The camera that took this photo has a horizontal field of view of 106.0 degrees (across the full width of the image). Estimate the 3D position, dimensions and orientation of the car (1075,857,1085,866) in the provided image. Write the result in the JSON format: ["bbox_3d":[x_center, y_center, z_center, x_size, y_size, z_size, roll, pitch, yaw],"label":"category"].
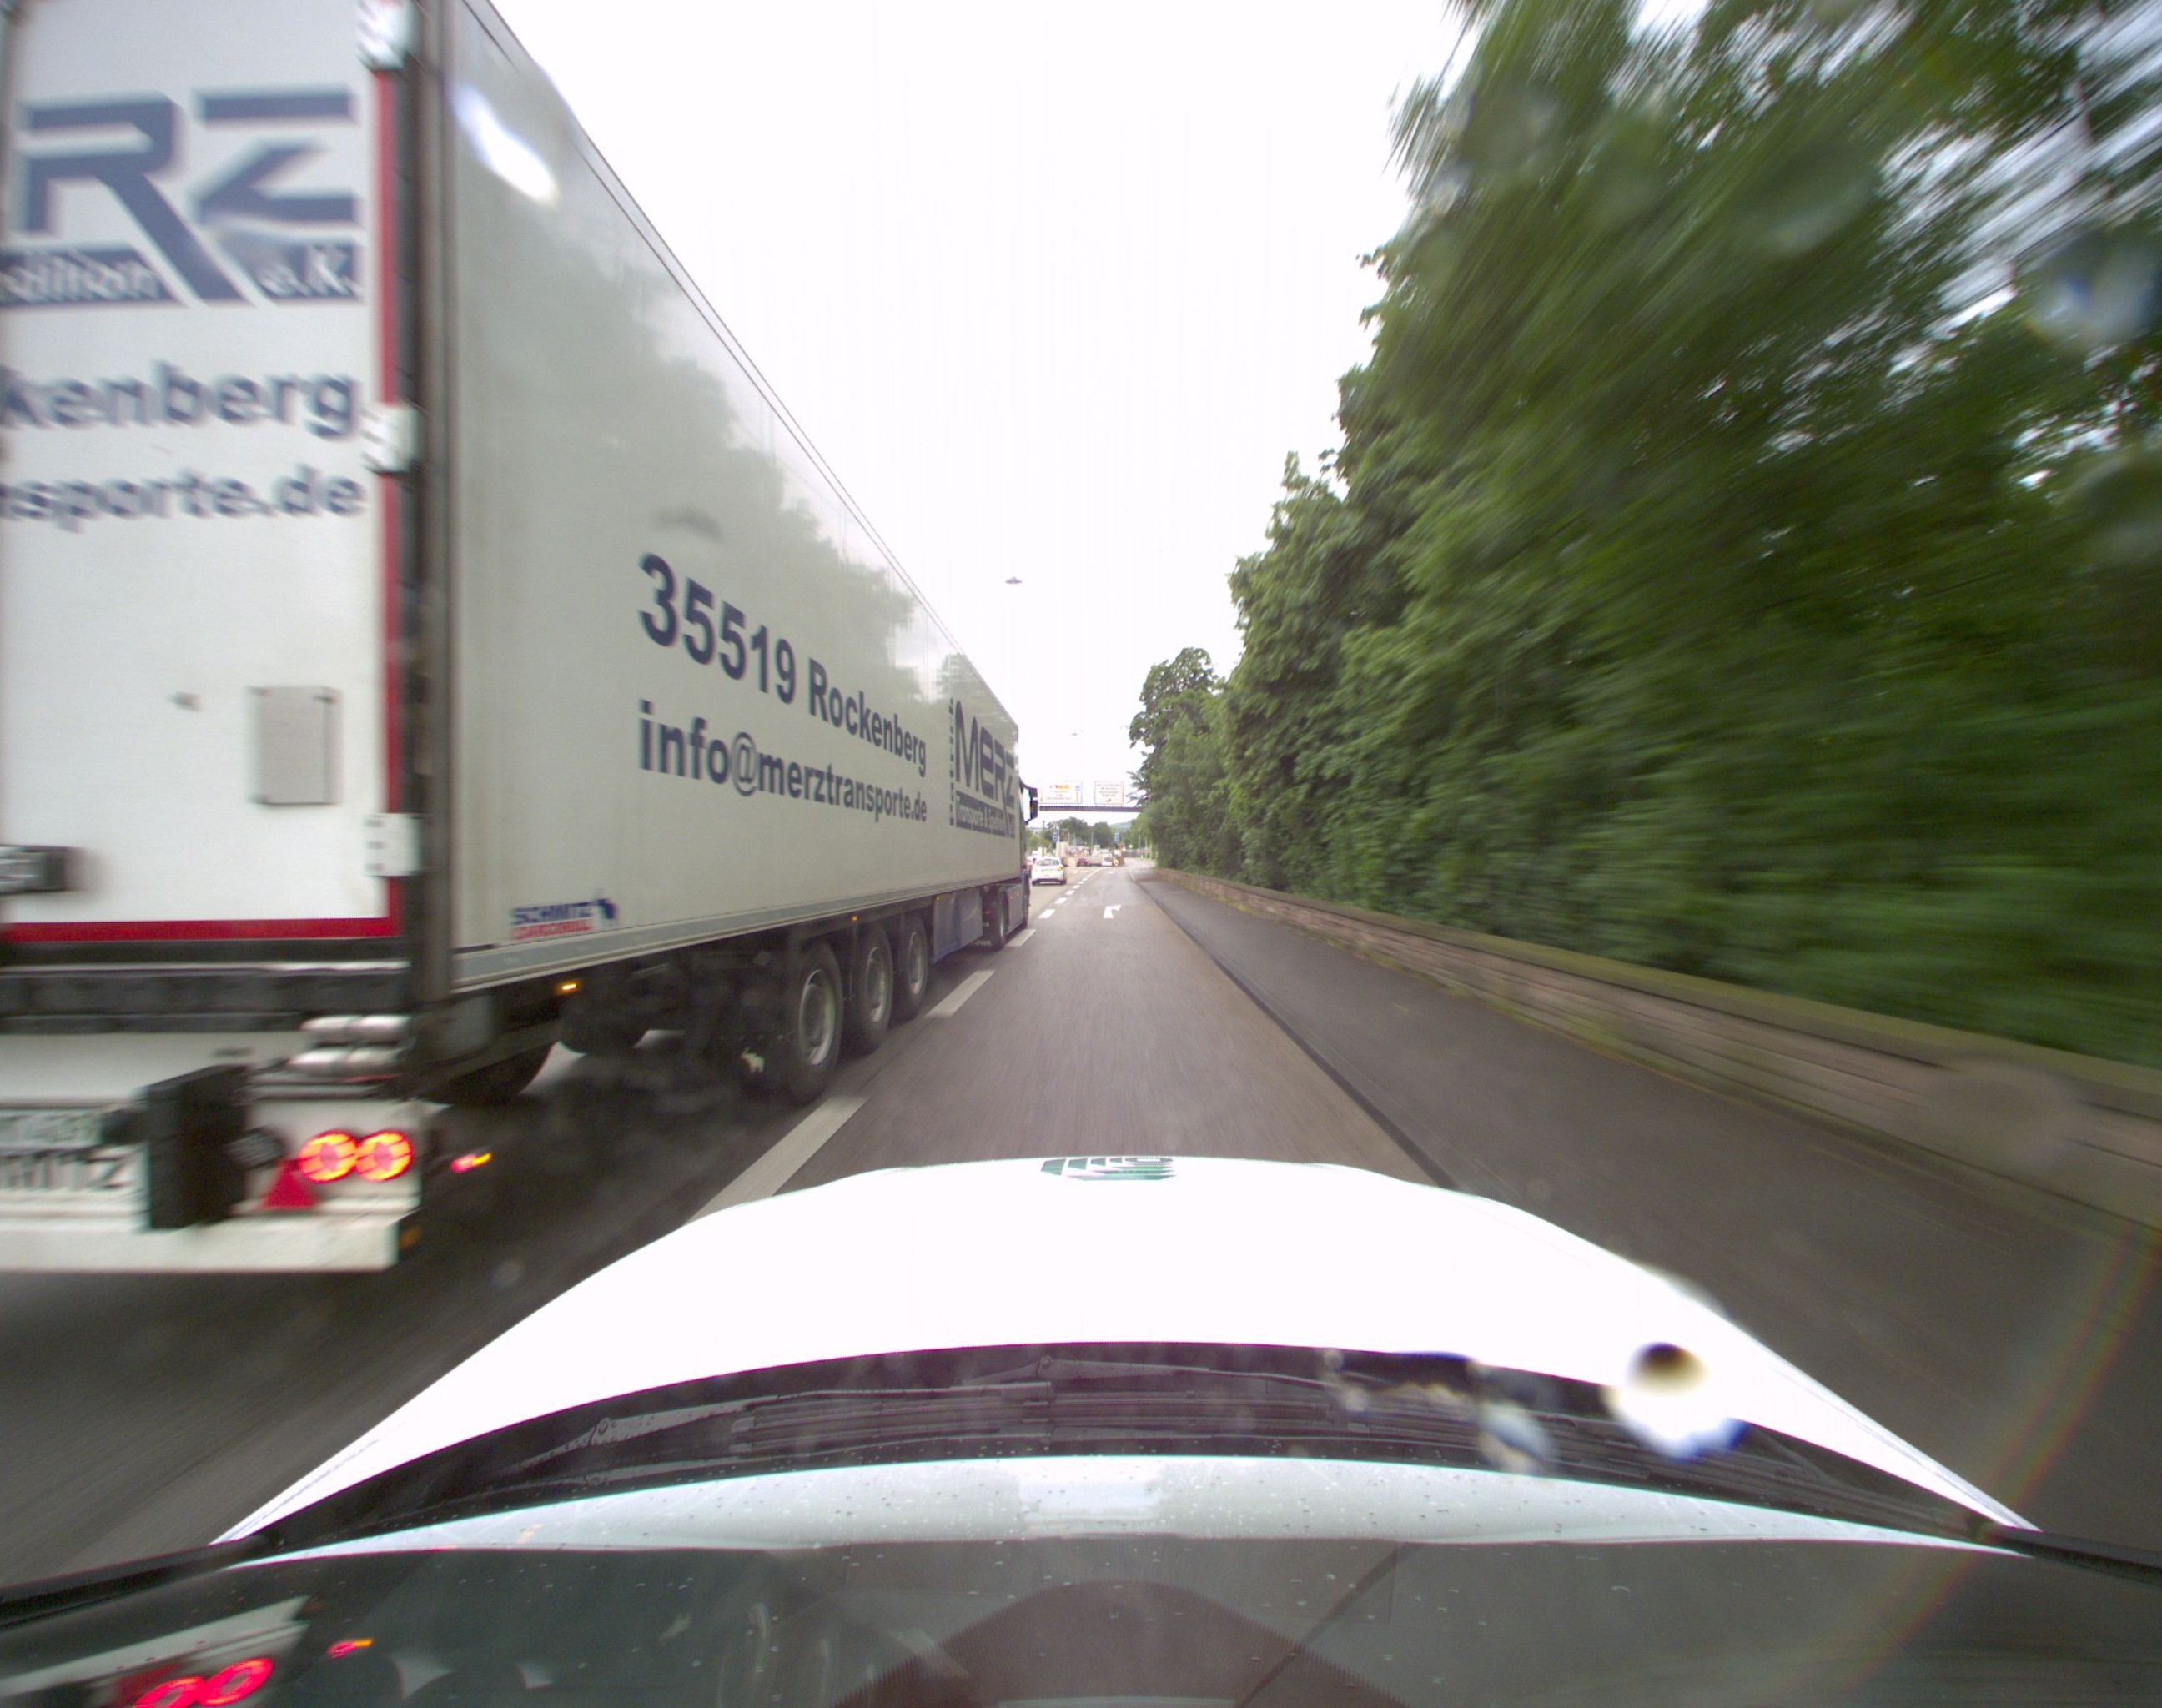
[{"bbox_3d":[-0.146,1.156,127.344,1.421,1.354,2.961,0,0,2],"label":"car"}]

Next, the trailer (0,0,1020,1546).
[{"bbox_3d":[-2.779,-0.517,8.497,2.752,4.253,13.189,-1,0,2],"label":"trailer"}]

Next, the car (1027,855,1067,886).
[{"bbox_3d":[-1.788,0.845,43.746,1.803,1.423,4.002,-1,1,2],"label":"car"}]

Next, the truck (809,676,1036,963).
[{"bbox_3d":[-2.549,-0.516,15.293,2.745,4.205,6.309,-1,0,2],"label":"truck"}]

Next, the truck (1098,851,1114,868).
[{"bbox_3d":[5.862,1.289,191.043,3.505,4.040,8.078,-1,-1,2],"label":"truck"}]

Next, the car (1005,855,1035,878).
[{"bbox_3d":[-4.218,0.863,57.115,1.675,1.446,4.002,-1,1,2],"label":"car"}]
